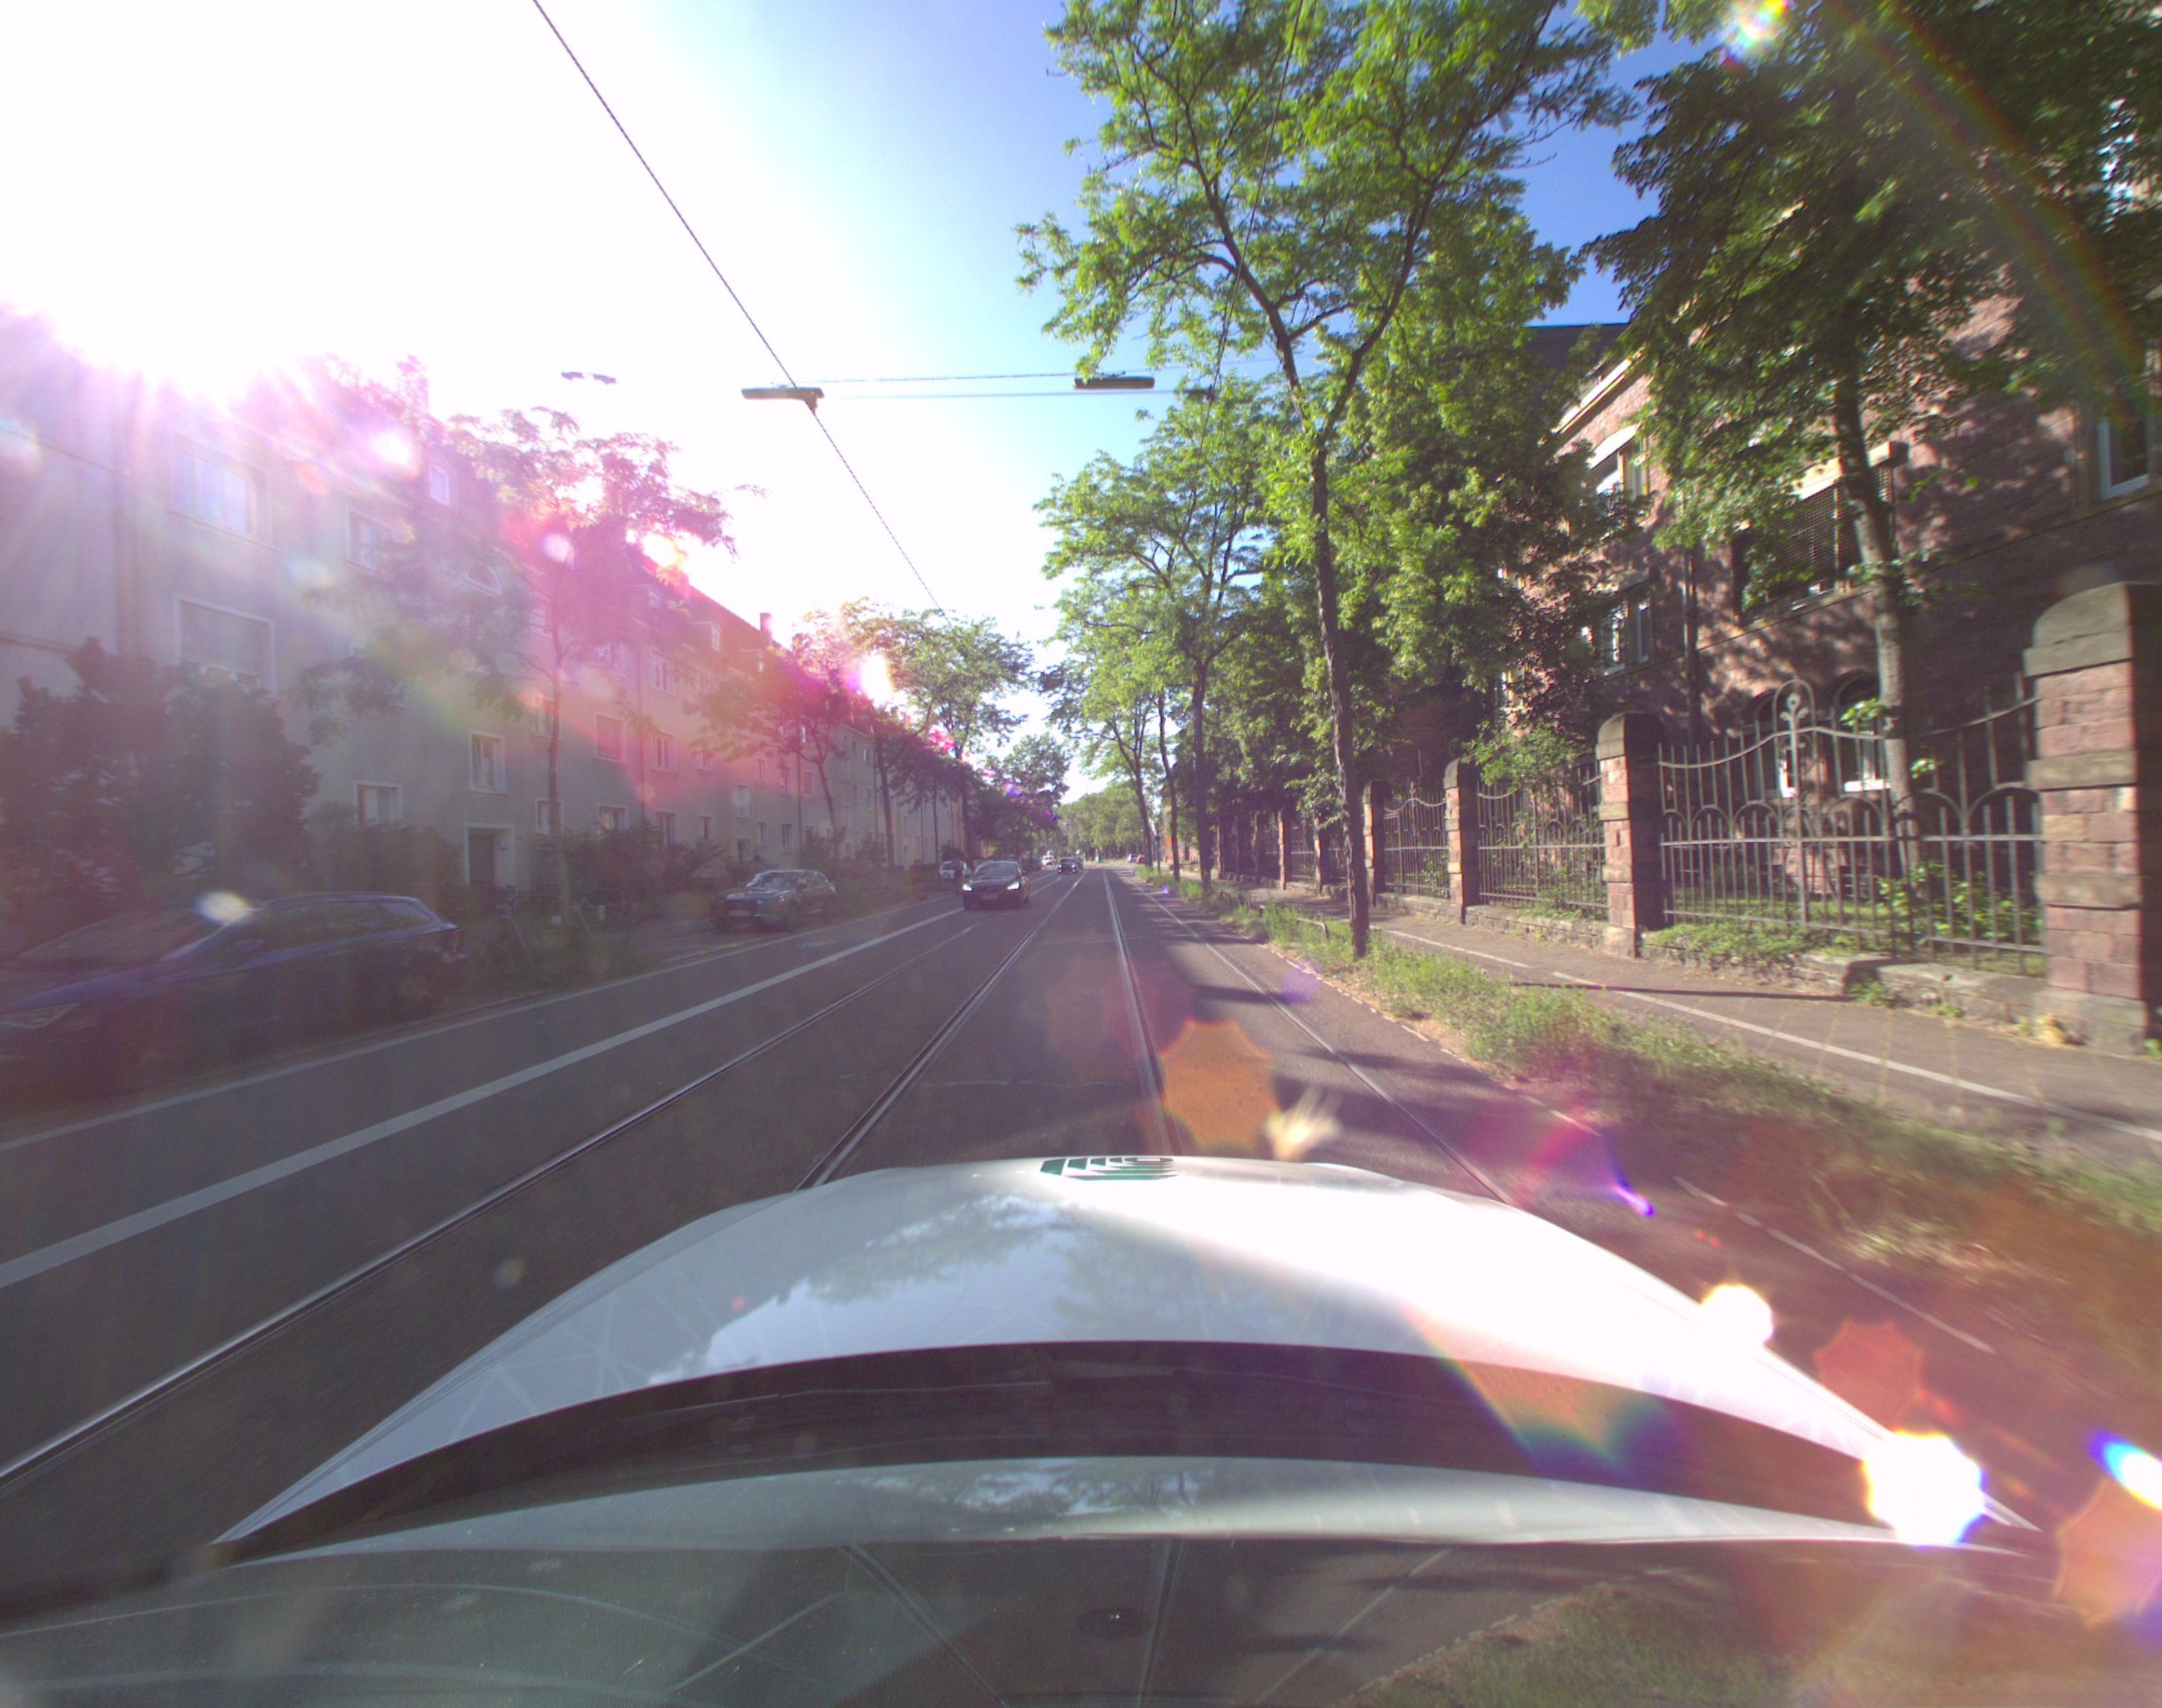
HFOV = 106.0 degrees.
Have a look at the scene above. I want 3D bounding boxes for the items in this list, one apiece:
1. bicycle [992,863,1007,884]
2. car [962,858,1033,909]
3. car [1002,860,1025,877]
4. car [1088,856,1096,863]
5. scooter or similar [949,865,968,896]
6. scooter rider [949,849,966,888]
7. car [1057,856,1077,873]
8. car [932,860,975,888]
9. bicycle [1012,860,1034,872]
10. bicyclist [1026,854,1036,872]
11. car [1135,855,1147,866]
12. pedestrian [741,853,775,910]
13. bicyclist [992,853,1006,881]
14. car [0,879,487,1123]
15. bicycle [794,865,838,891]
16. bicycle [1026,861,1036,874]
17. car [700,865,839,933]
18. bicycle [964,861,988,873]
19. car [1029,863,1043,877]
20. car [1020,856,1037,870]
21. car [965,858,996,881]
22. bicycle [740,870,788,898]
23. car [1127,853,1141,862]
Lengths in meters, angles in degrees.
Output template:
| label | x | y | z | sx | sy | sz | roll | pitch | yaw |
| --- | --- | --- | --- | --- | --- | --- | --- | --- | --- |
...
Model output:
| label | x | y | z | sx | sy | sz | roll | pitch | yaw |
| --- | --- | --- | --- | --- | --- | --- | --- | --- | --- |
| bicycle | -4.982 | 1.168 | 49.917 | 0.624 | 1.177 | 1.913 | -4 | 0 | 1 |
| car | -2.589 | 0.875 | 26.082 | 1.752 | 1.439 | 4.523 | -1 | 0 | 0 |
| car | -6.383 | 1.337 | 77.472 | 1.740 | 1.490 | 4.323 | 1 | 0 | 0 |
| car | 2.873 | 1.460 | 212.922 | 1.939 | 1.610 | 3.994 | -2 | 0 | -4 |
| scooter or similar | -5.448 | 1.163 | 36.238 | 0.518 | 1.297 | 1.378 | -5 | 0 | 1 |
| scooter rider | -5.494 | 0.647 | 36.232 | 0.495 | 1.699 | 0.787 | -5 | 0 | 1 |
| car | -1.217 | 0.902 | 73.620 | 1.694 | 1.439 | 4.071 | -1 | 0 | 0 |
| car | -7.300 | 1.112 | 46.900 | 1.696 | 1.485 | 4.080 | 1 | 0 | 1 |
| bicycle | -5.984 | 1.284 | 84.011 | 2.272 | 1.198 | 0.561 | 1 | 1 | 7 |
| bicyclist | -4.675 | 0.845 | 76.318 | 0.707 | 1.607 | 0.865 | -4 | 0 | 1 |
| car | 10.223 | 1.104 | 139.070 | 1.833 | 1.655 | 3.578 | -2 | 0 | -1 |
| pedestrian | -10.437 | 0.875 | 26.312 | 0.689 | 1.801 | 0.813 | -2 | 0 | 1 |
| bicyclist | -5.007 | 0.773 | 49.877 | 0.624 | 1.639 | 0.940 | -4 | 0 | 1 |
| car | -8.140 | 1.072 | 7.712 | 1.752 | 1.511 | 4.438 | -1 | 0 | 0 |
| bicycle | -12.392 | 1.116 | 38.091 | 1.901 | 1.177 | 0.521 | 0 | 0 | -2 |
| bicycle | -4.640 | 1.253 | 76.361 | 0.692 | 1.177 | 1.913 | -4 | 0 | 1 |
| car | -7.736 | 1.060 | 20.706 | 1.810 | 1.485 | 4.207 | -1 | 0 | 1 |
| bicycle | -10.532 | 1.274 | 81.648 | 2.272 | 1.198 | 0.561 | 1 | 1 | 7 |
| car | -5.647 | 1.948 | 101.861 | 1.741 | 1.660 | 4.386 | 1 | 0 | -3 |
| car | -6.052 | 1.041 | 93.674 | 1.740 | 1.569 | 4.067 | 1 | 0 | -1 |
| car | -6.864 | 1.052 | 55.925 | 1.681 | 1.485 | 3.760 | 1 | 0 | 0 |
| bicycle | -13.865 | 1.308 | 35.653 | 1.901 | 1.177 | 0.521 | 0 | 0 | -2 |
| car | 10.055 | 0.715 | 154.856 | 1.939 | 1.610 | 3.994 | -2 | 0 | -4 |
